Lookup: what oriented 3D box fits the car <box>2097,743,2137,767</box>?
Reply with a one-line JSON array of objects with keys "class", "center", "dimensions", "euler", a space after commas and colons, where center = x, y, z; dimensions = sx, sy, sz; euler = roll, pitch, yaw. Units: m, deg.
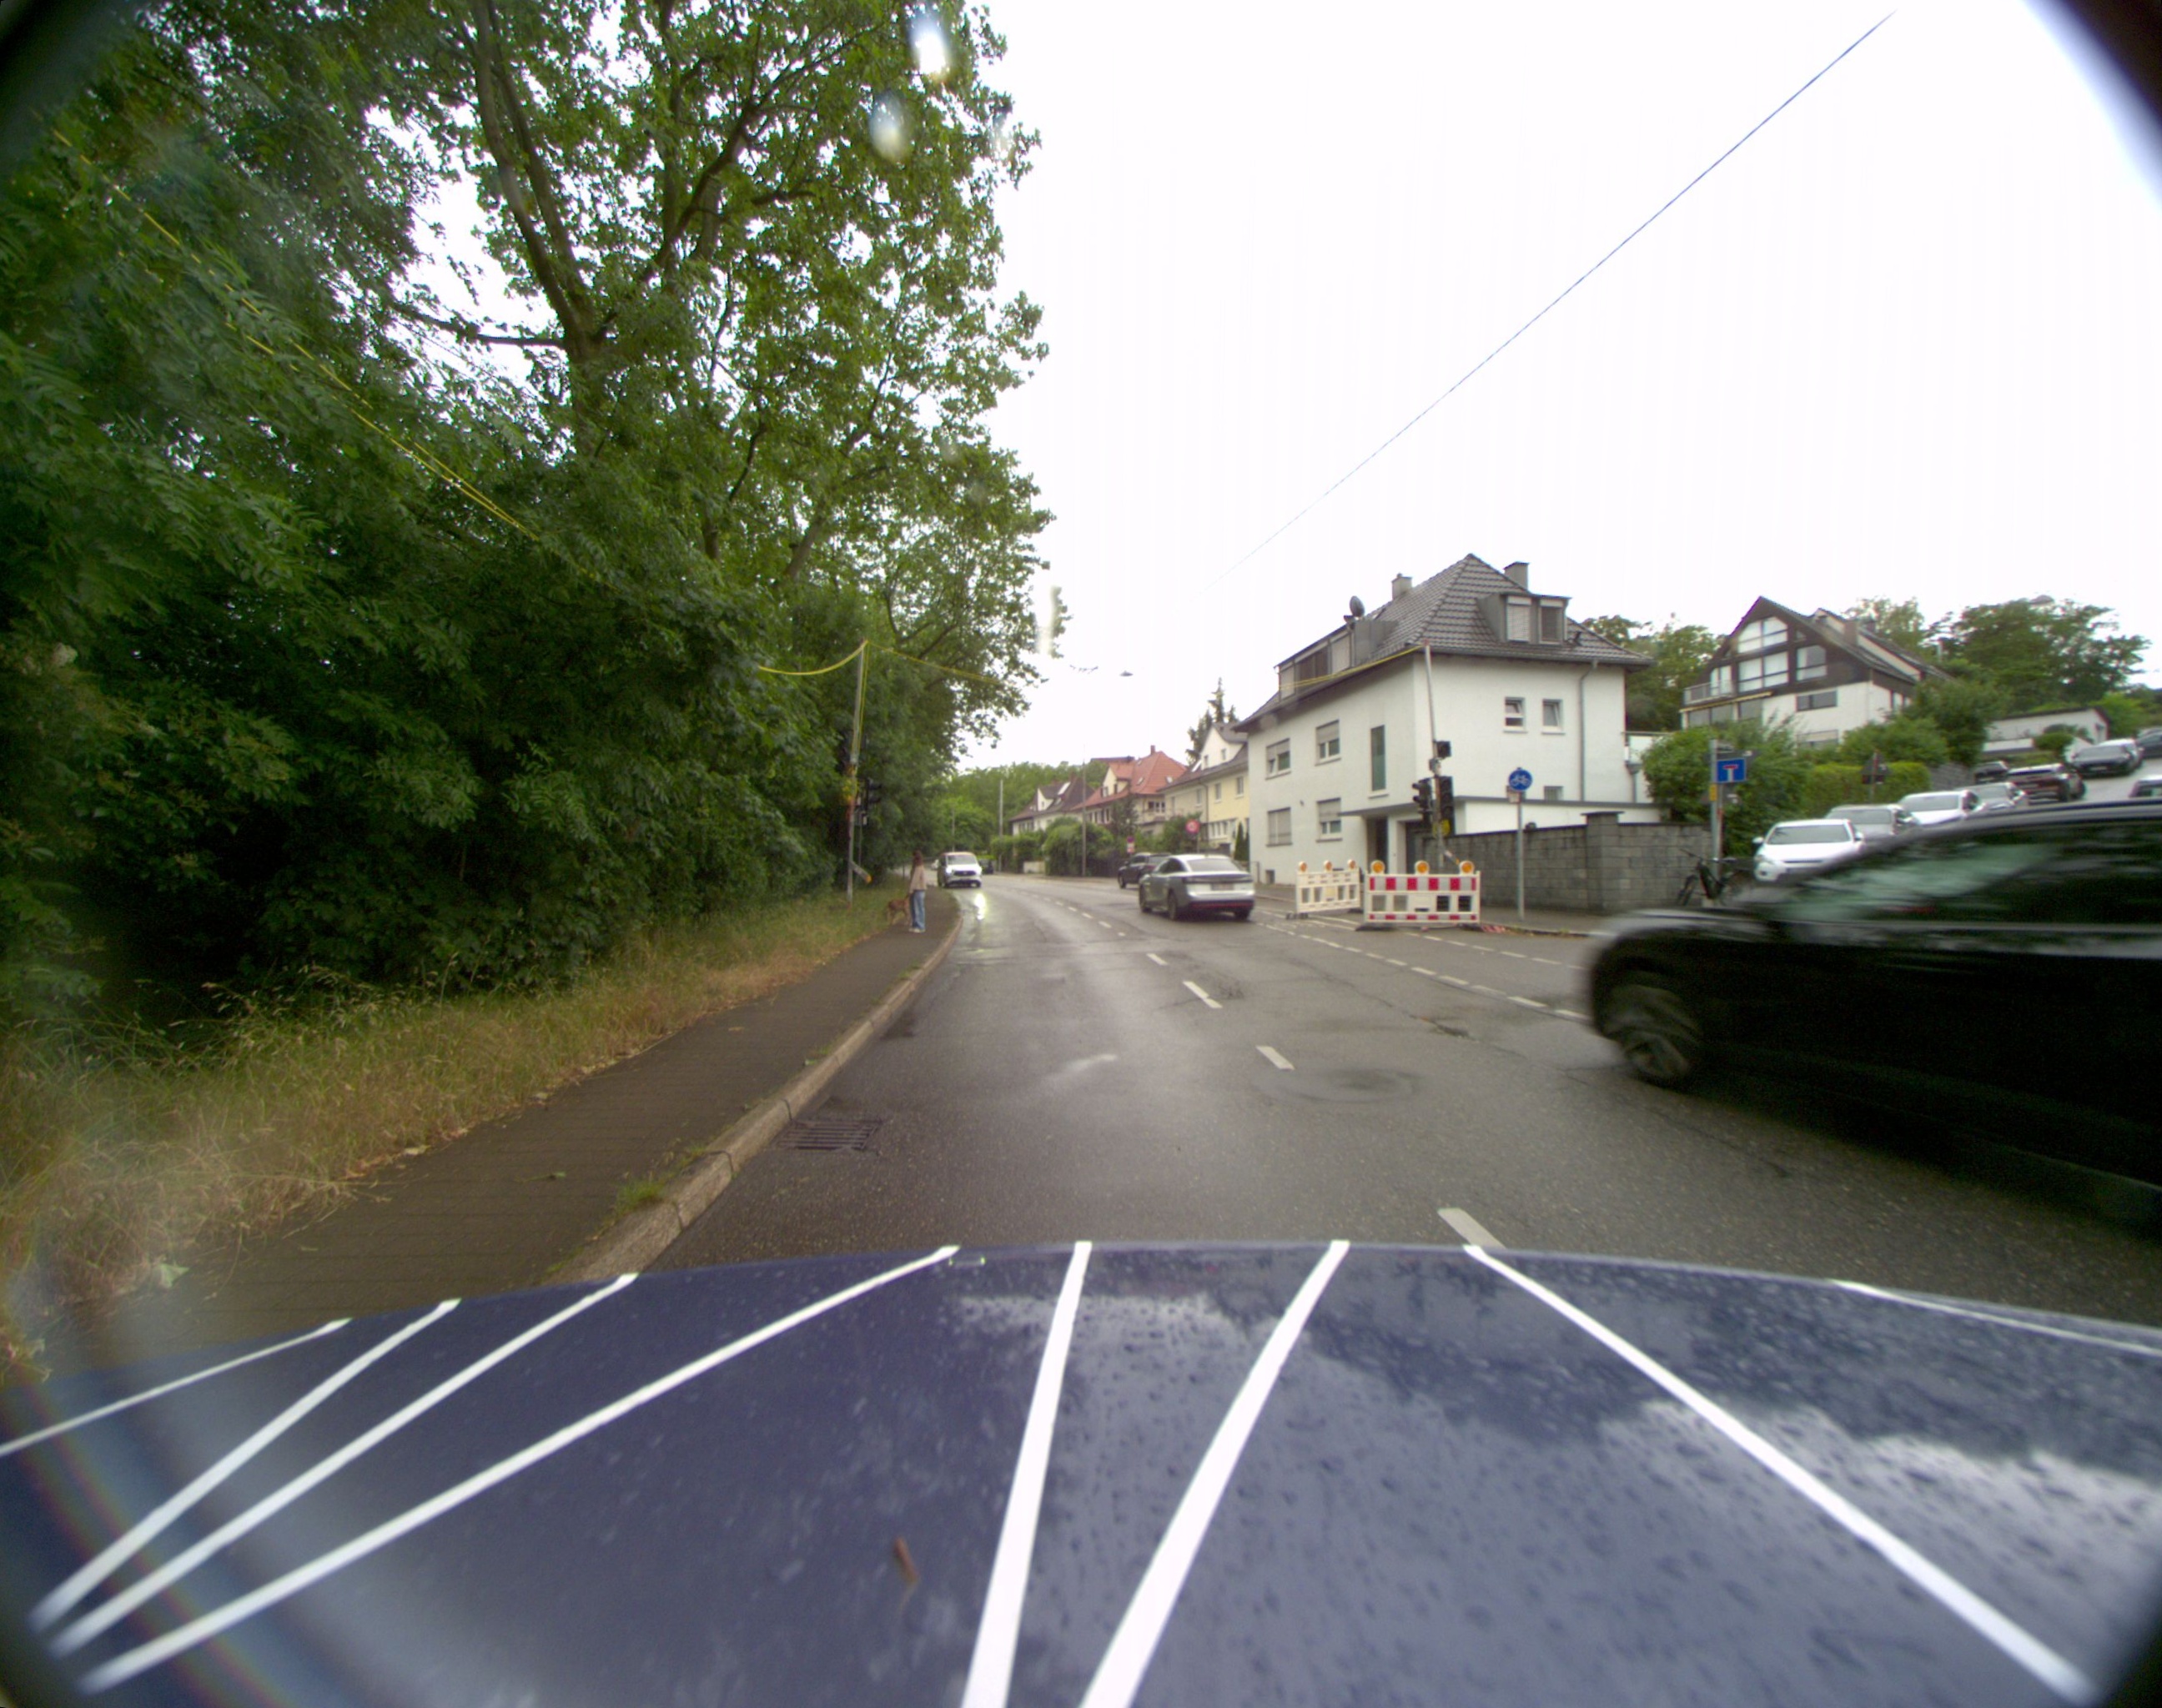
[{"class": "car", "center": [59.842, -5.744, 43.898], "dimensions": [2.988, 1.191, 1.305], "euler": [-6, 3, -35]}]

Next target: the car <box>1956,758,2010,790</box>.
[{"class": "car", "center": [52.873, -4.651, 44.517], "dimensions": [4.020, 1.545, 1.812], "euler": [-3, 1, -37]}]

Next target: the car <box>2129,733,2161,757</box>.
[{"class": "car", "center": [68.330, -6.940, 47.697], "dimensions": [1.286, 1.310, 2.945], "euler": [-3, 1, -36]}]

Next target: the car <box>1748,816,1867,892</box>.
[{"class": "car", "center": [17.780, -0.049, 18.540], "dimensions": [4.126, 1.455, 1.849], "euler": [-7, 4, -43]}]

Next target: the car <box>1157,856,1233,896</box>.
[{"class": "car", "center": [4.387, 0.819, 29.910], "dimensions": [1.787, 1.423, 3.844], "euler": [-2, 0, -10]}]

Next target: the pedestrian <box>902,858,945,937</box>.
[{"class": "pedestrian", "center": [-3.067, 0.829, 14.859], "dimensions": [0.735, 1.490, 0.784], "euler": [-2, 1, -10]}]

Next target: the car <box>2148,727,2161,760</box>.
[{"class": "car", "center": [72.470, -7.450, 48.981], "dimensions": [2.003, 2.000, 3.993], "euler": [-2, -4, -32]}]

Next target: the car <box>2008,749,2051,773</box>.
[{"class": "car", "center": [57.244, -5.640, 45.866], "dimensions": [3.656, 1.205, 1.577], "euler": [-7, 3, -38]}]

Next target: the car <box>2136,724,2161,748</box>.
[{"class": "car", "center": [81.124, -8.870, 55.958], "dimensions": [1.754, 1.508, 3.961], "euler": [-3, 1, -35]}]

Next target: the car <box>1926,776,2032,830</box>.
[{"class": "car", "center": [32.331, -1.833, 27.336], "dimensions": [4.111, 1.430, 1.921], "euler": [-9, 4, -33]}]

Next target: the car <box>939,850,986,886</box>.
[{"class": "car", "center": [-6.886, 0.769, 43.716], "dimensions": [2.104, 1.908, 5.084], "euler": [-2, 0, -15]}]

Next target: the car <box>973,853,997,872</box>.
[{"class": "car", "center": [-9.600, 0.850, 75.961], "dimensions": [1.882, 1.814, 4.121], "euler": [-2, 0, -14]}]

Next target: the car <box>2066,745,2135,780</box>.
[{"class": "car", "center": [54.820, -4.881, 40.841], "dimensions": [4.034, 1.511, 1.786], "euler": [-2, 0, -31]}]

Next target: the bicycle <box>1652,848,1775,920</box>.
[{"class": "bicycle", "center": [11.590, 0.536, 13.939], "dimensions": [2.006, 1.232, 0.510], "euler": [-2, 3, -8]}]

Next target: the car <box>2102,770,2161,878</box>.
[{"class": "car", "center": [23.886, -0.753, 16.264], "dimensions": [4.497, 2.003, 1.996], "euler": [-7, 3, -31]}]

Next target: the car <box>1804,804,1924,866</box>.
[{"class": "car", "center": [22.467, -0.559, 21.761], "dimensions": [3.910, 1.380, 1.719], "euler": [-7, 3, -34]}]

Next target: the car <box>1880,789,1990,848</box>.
[{"class": "car", "center": [27.273, -1.154, 24.234], "dimensions": [3.951, 1.462, 1.755], "euler": [-7, 3, -33]}]

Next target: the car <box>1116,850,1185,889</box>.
[{"class": "car", "center": [3.134, 0.680, 35.037], "dimensions": [1.798, 1.630, 4.150], "euler": [-1, 0, -15]}]

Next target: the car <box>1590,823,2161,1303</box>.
[{"class": "car", "center": [4.533, 0.686, 3.051], "dimensions": [1.872, 1.612, 4.162], "euler": [-2, 0, -6]}]

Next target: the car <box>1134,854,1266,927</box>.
[{"class": "car", "center": [2.778, 0.783, 18.959], "dimensions": [1.859, 1.518, 4.815], "euler": [-2, 1, -9]}]

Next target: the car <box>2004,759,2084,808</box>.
[{"class": "car", "center": [40.724, -2.985, 32.114], "dimensions": [4.004, 1.617, 1.638], "euler": [-8, 4, -32]}]
